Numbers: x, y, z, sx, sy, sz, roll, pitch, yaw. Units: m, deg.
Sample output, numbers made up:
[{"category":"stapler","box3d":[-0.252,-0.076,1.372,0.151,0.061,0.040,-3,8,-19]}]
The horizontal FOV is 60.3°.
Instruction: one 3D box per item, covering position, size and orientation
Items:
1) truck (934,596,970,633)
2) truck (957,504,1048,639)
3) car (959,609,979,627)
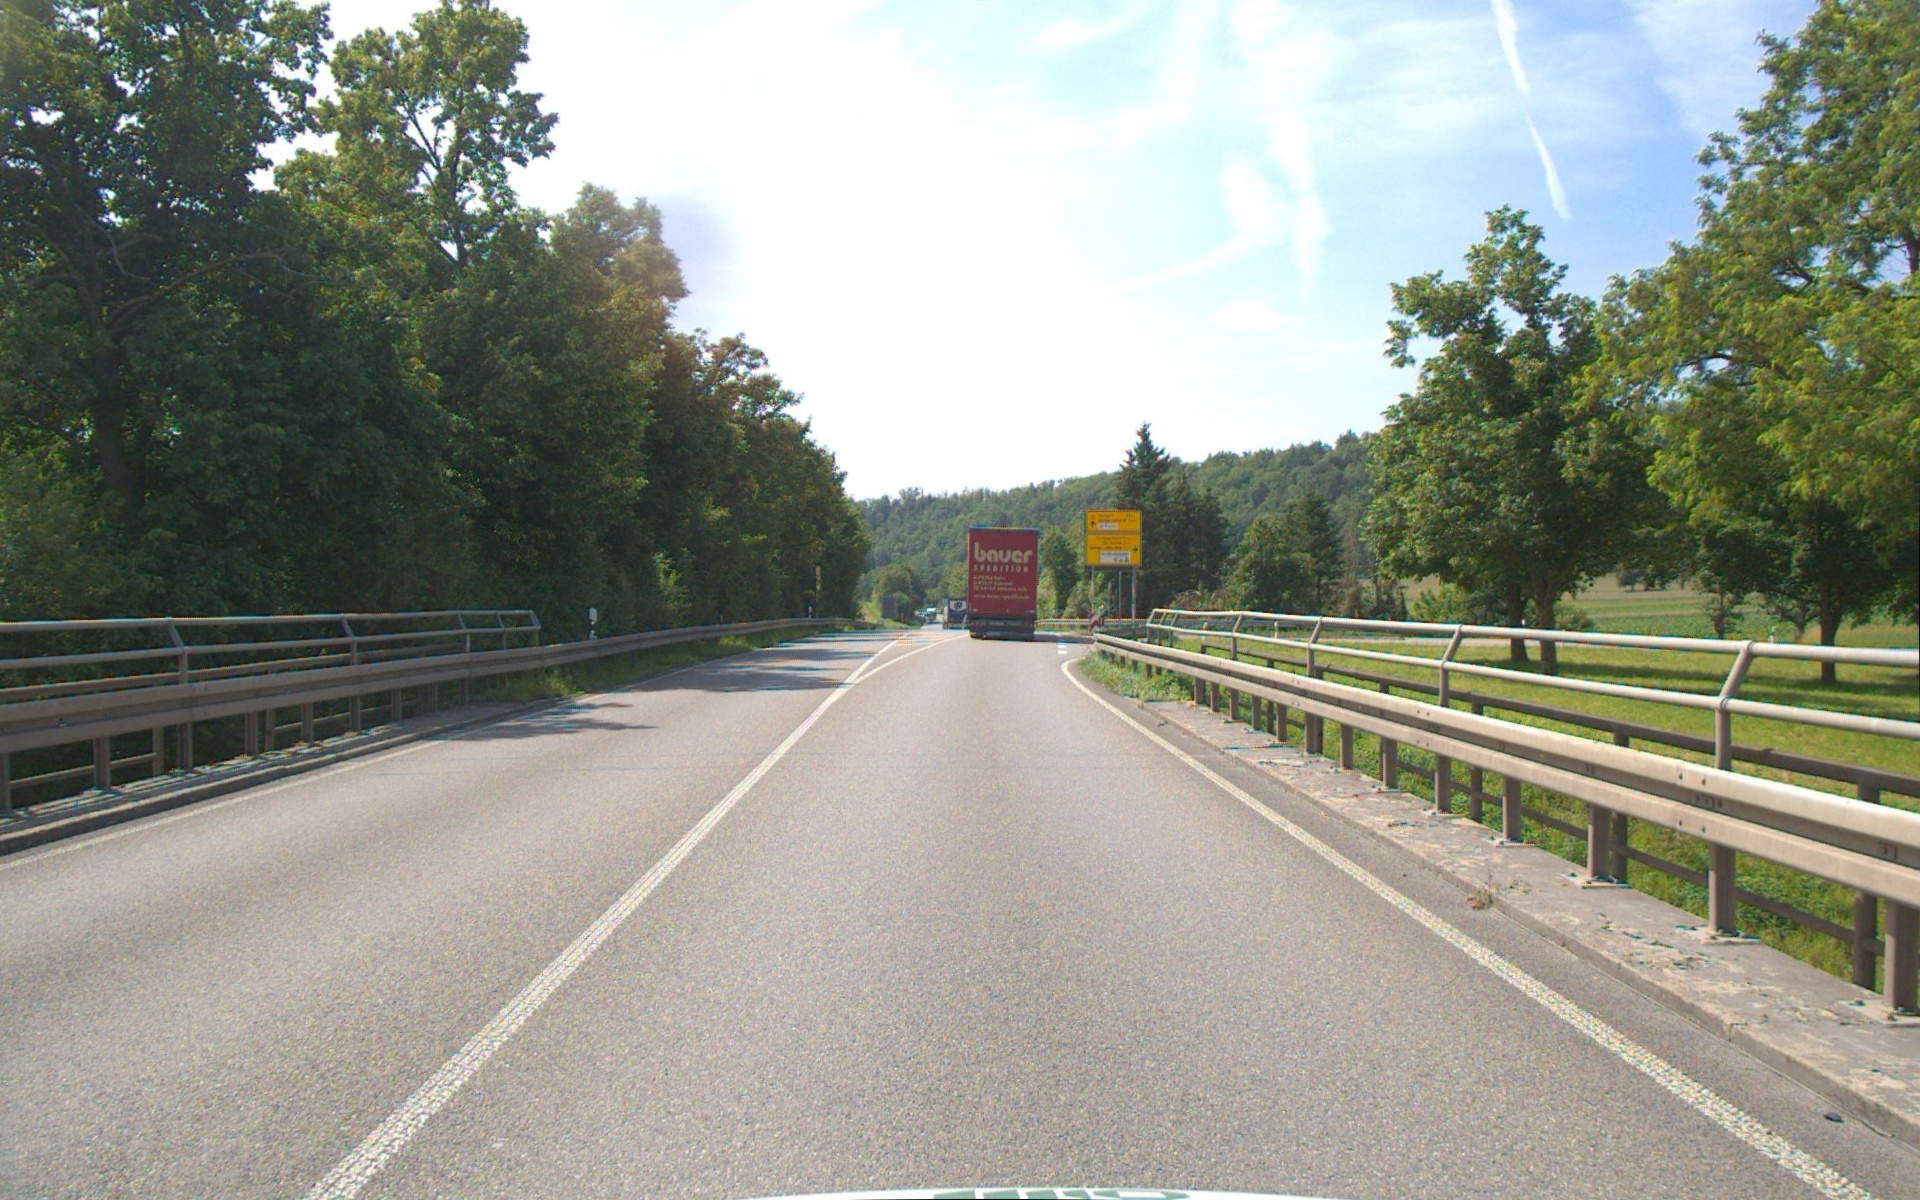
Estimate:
[{"category":"truck","box3d":[-1.061,1.924,212.105,3.827,4.446,13.283,3,-1,-3]},{"category":"truck","box3d":[1.682,-0.985,65.395,3.107,4.706,13.545,1,0,1]},{"category":"car","box3d":[0.979,1.960,181.221,1.954,1.842,3.998,3,-2,-2]}]
